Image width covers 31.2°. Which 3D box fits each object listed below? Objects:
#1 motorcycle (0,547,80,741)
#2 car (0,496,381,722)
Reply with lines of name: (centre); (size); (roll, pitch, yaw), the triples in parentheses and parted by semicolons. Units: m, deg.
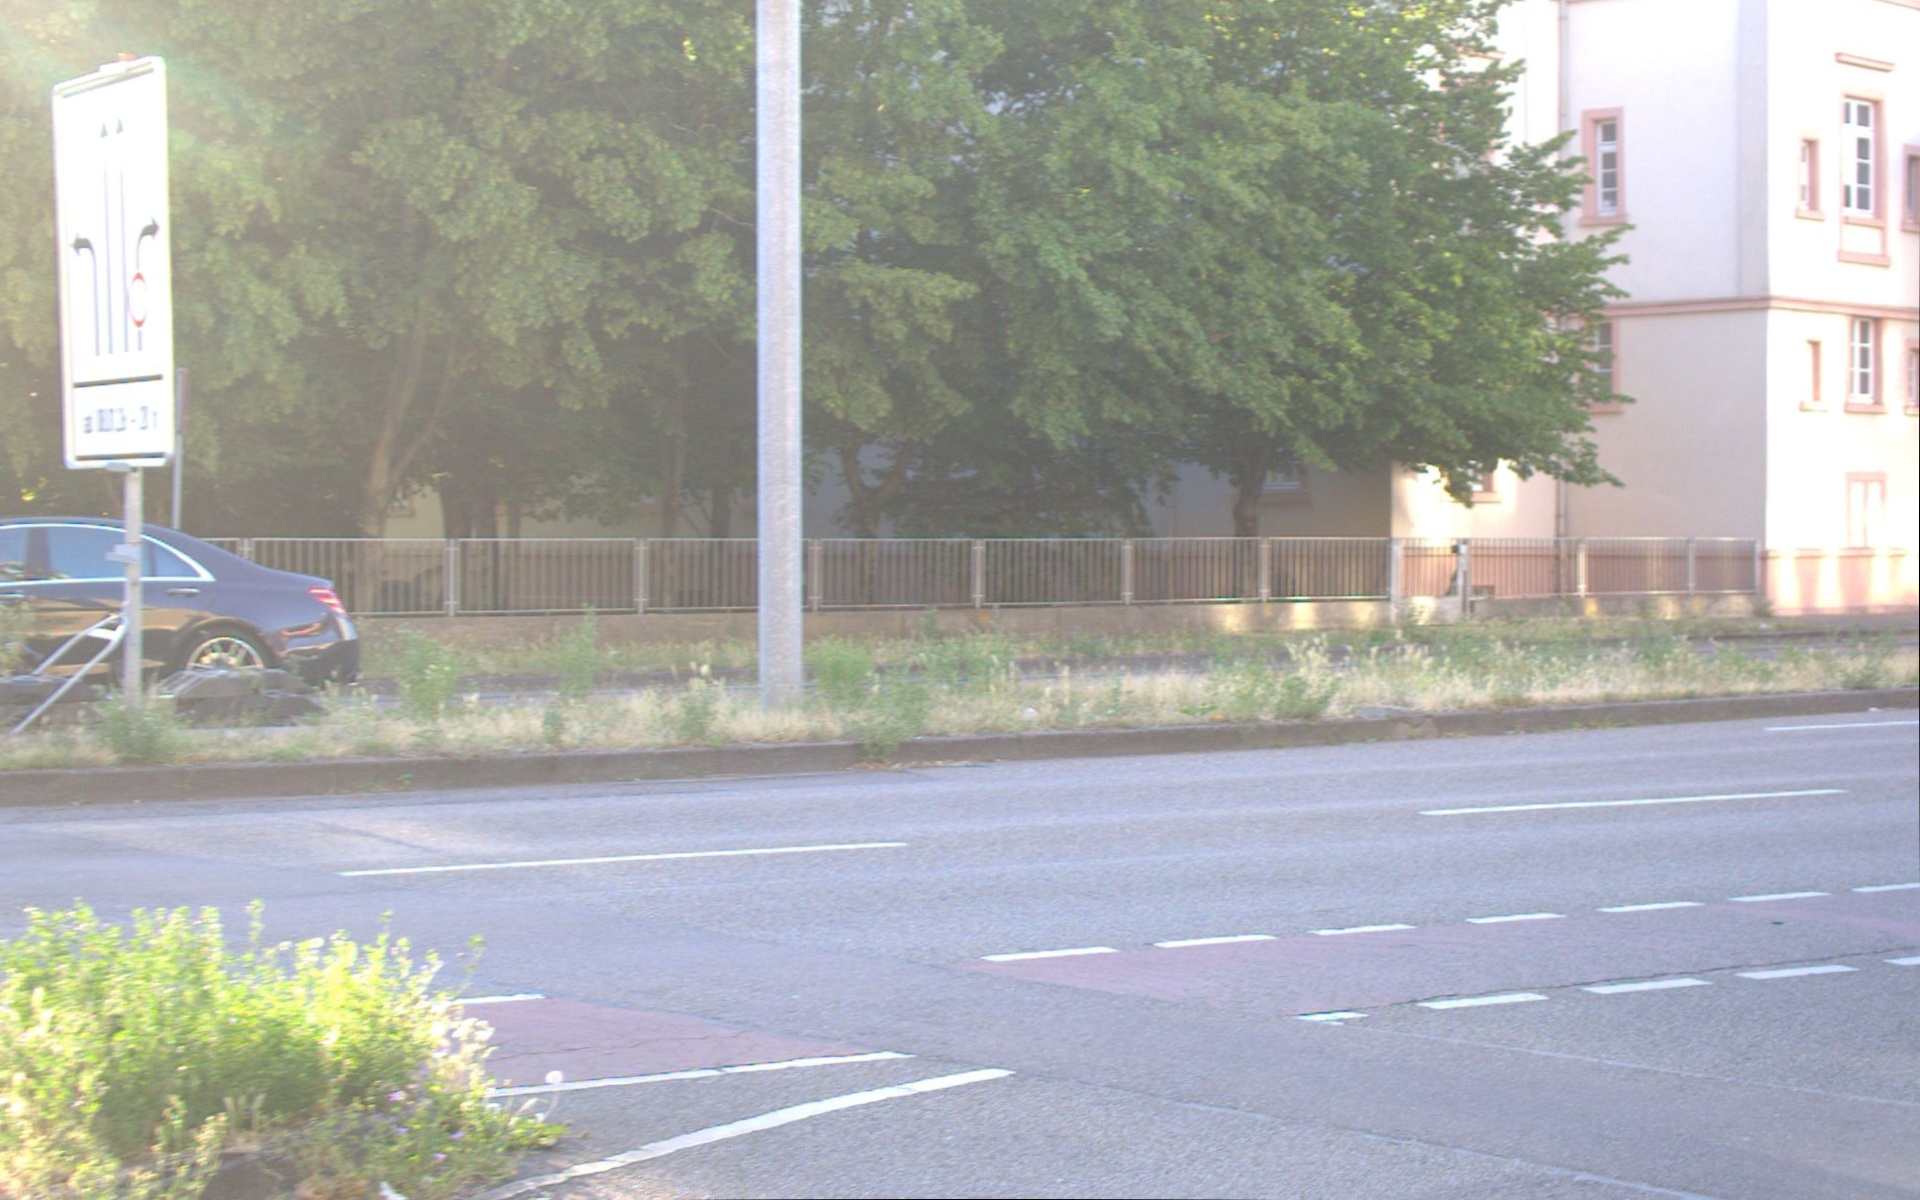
motorcycle: (-6.376, 0.255, 19.644); (2.462, 1.104, 0.861); (-1, 1, -30)
car: (-6.814, 0.046, 23.539); (5.276, 1.490, 2.000); (-1, 1, -36)
